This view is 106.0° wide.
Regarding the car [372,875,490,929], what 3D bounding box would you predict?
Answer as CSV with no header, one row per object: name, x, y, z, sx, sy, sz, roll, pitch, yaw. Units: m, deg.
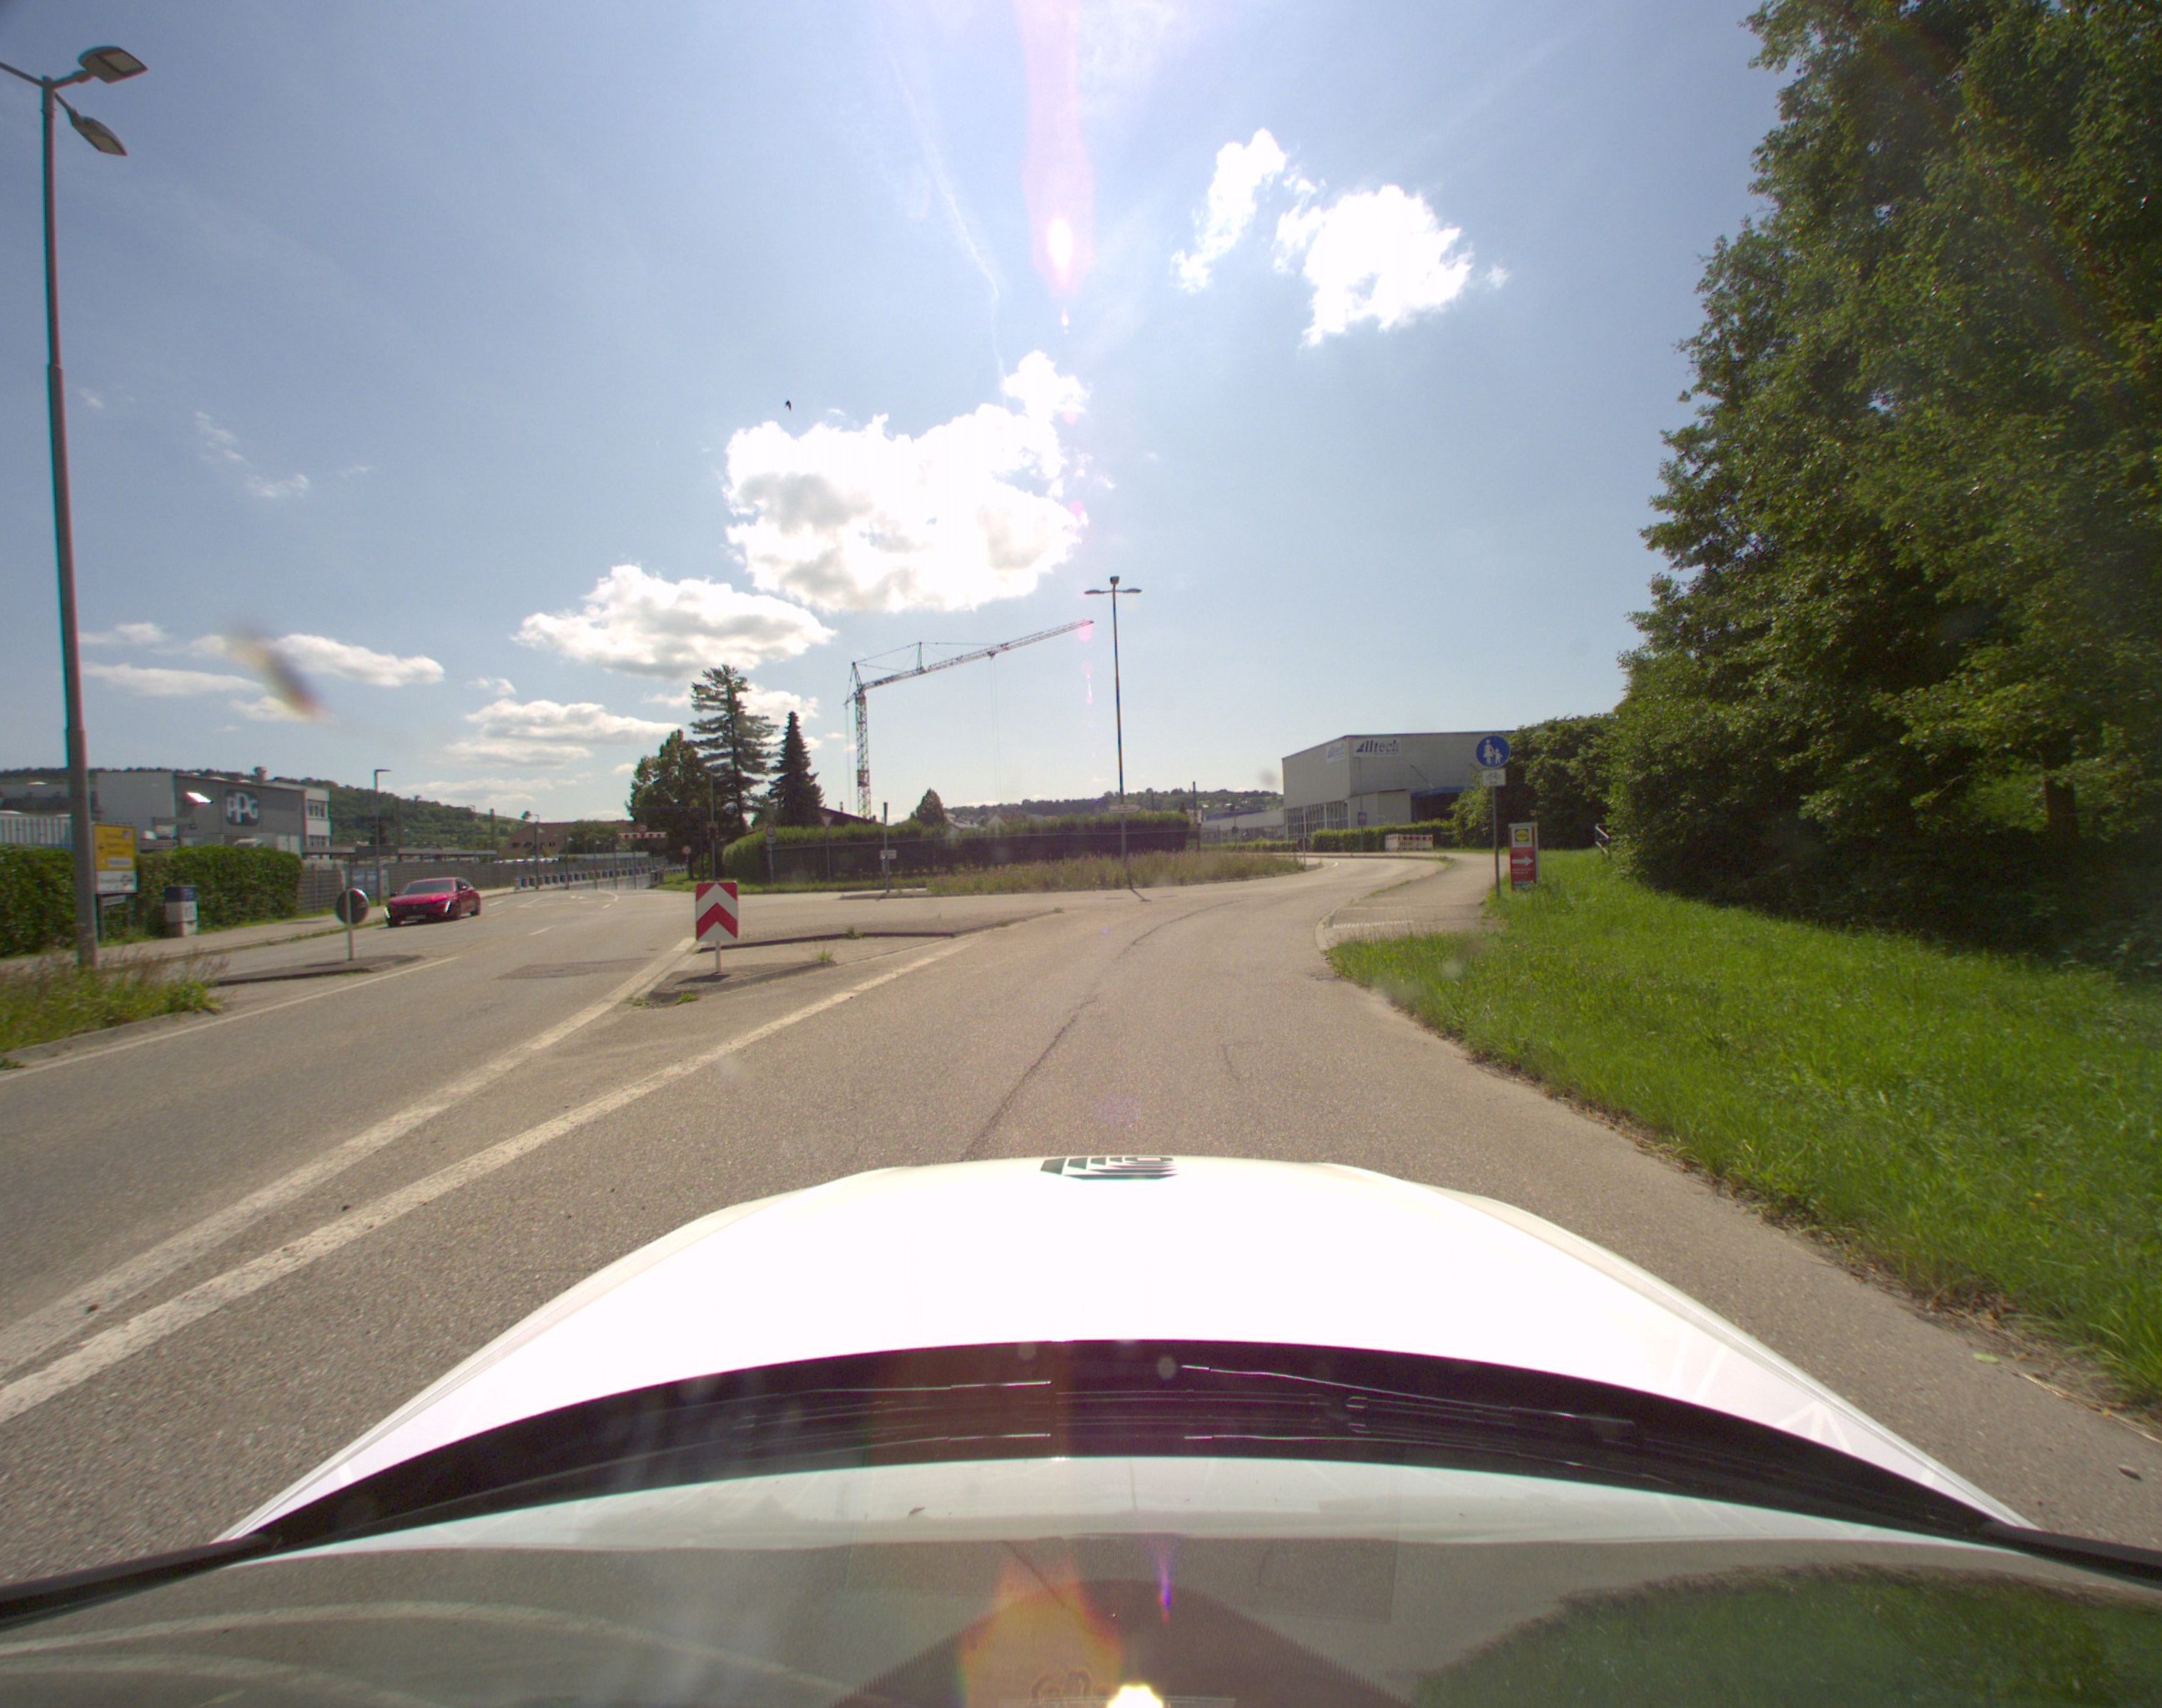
car,-21.484,1.519,27.116,1.888,1.464,4.353,-4,1,-23
